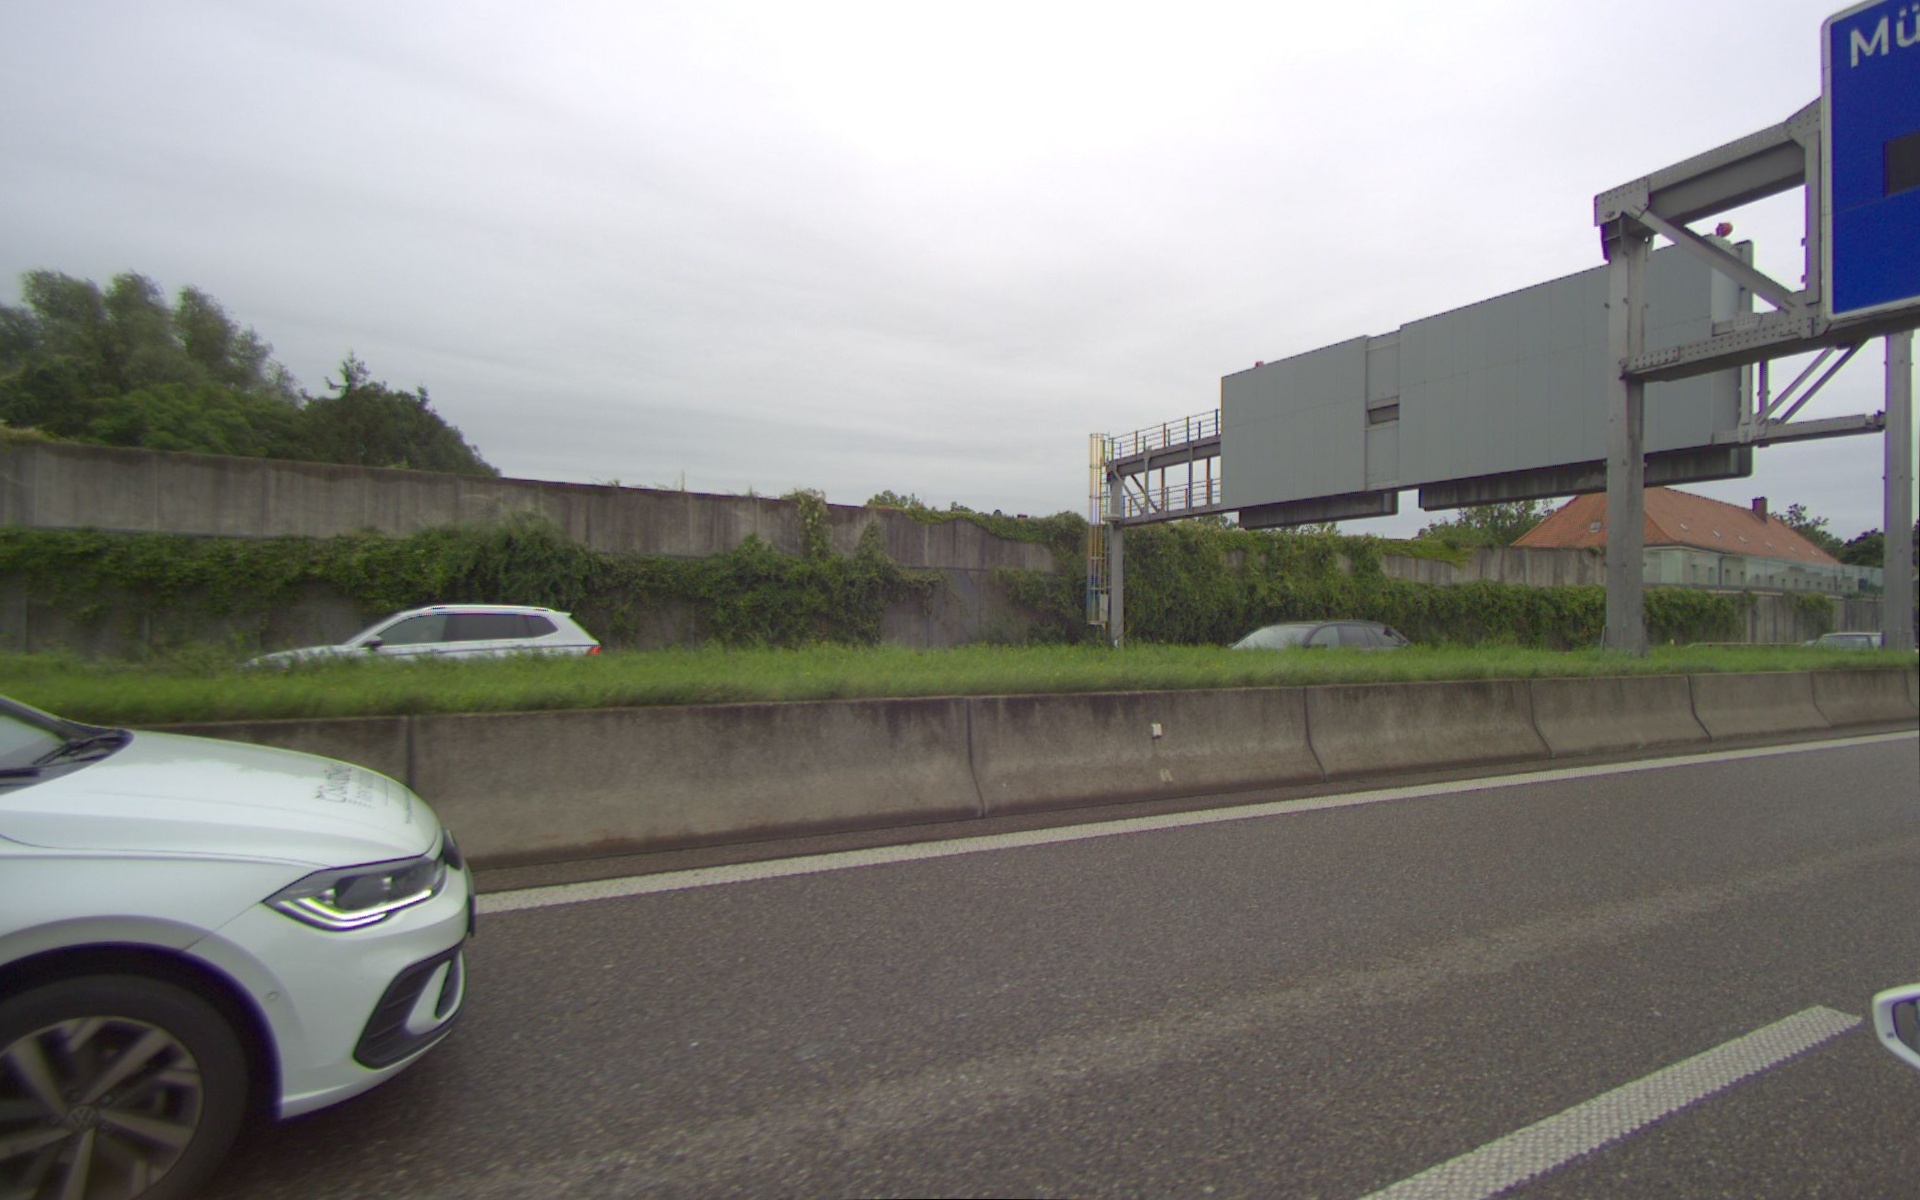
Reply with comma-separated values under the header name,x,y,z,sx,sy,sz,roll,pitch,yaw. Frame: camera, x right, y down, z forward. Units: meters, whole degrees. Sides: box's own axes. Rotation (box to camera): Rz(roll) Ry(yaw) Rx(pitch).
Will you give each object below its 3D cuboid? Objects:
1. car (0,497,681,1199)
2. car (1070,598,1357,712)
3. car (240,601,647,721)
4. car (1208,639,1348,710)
name,x,y,z,sx,sy,sz,roll,pitch,yaw
car,-3.209,0.593,2.402,4.610,1.639,1.744,1,-1,-31
car,3.999,0.797,15.713,4.175,1.564,1.984,1,0,-30
car,-7.211,0.795,14.428,4.876,1.473,1.984,1,-1,-30
car,10.240,2.348,32.289,4.175,2.040,1.984,2,0,-30
